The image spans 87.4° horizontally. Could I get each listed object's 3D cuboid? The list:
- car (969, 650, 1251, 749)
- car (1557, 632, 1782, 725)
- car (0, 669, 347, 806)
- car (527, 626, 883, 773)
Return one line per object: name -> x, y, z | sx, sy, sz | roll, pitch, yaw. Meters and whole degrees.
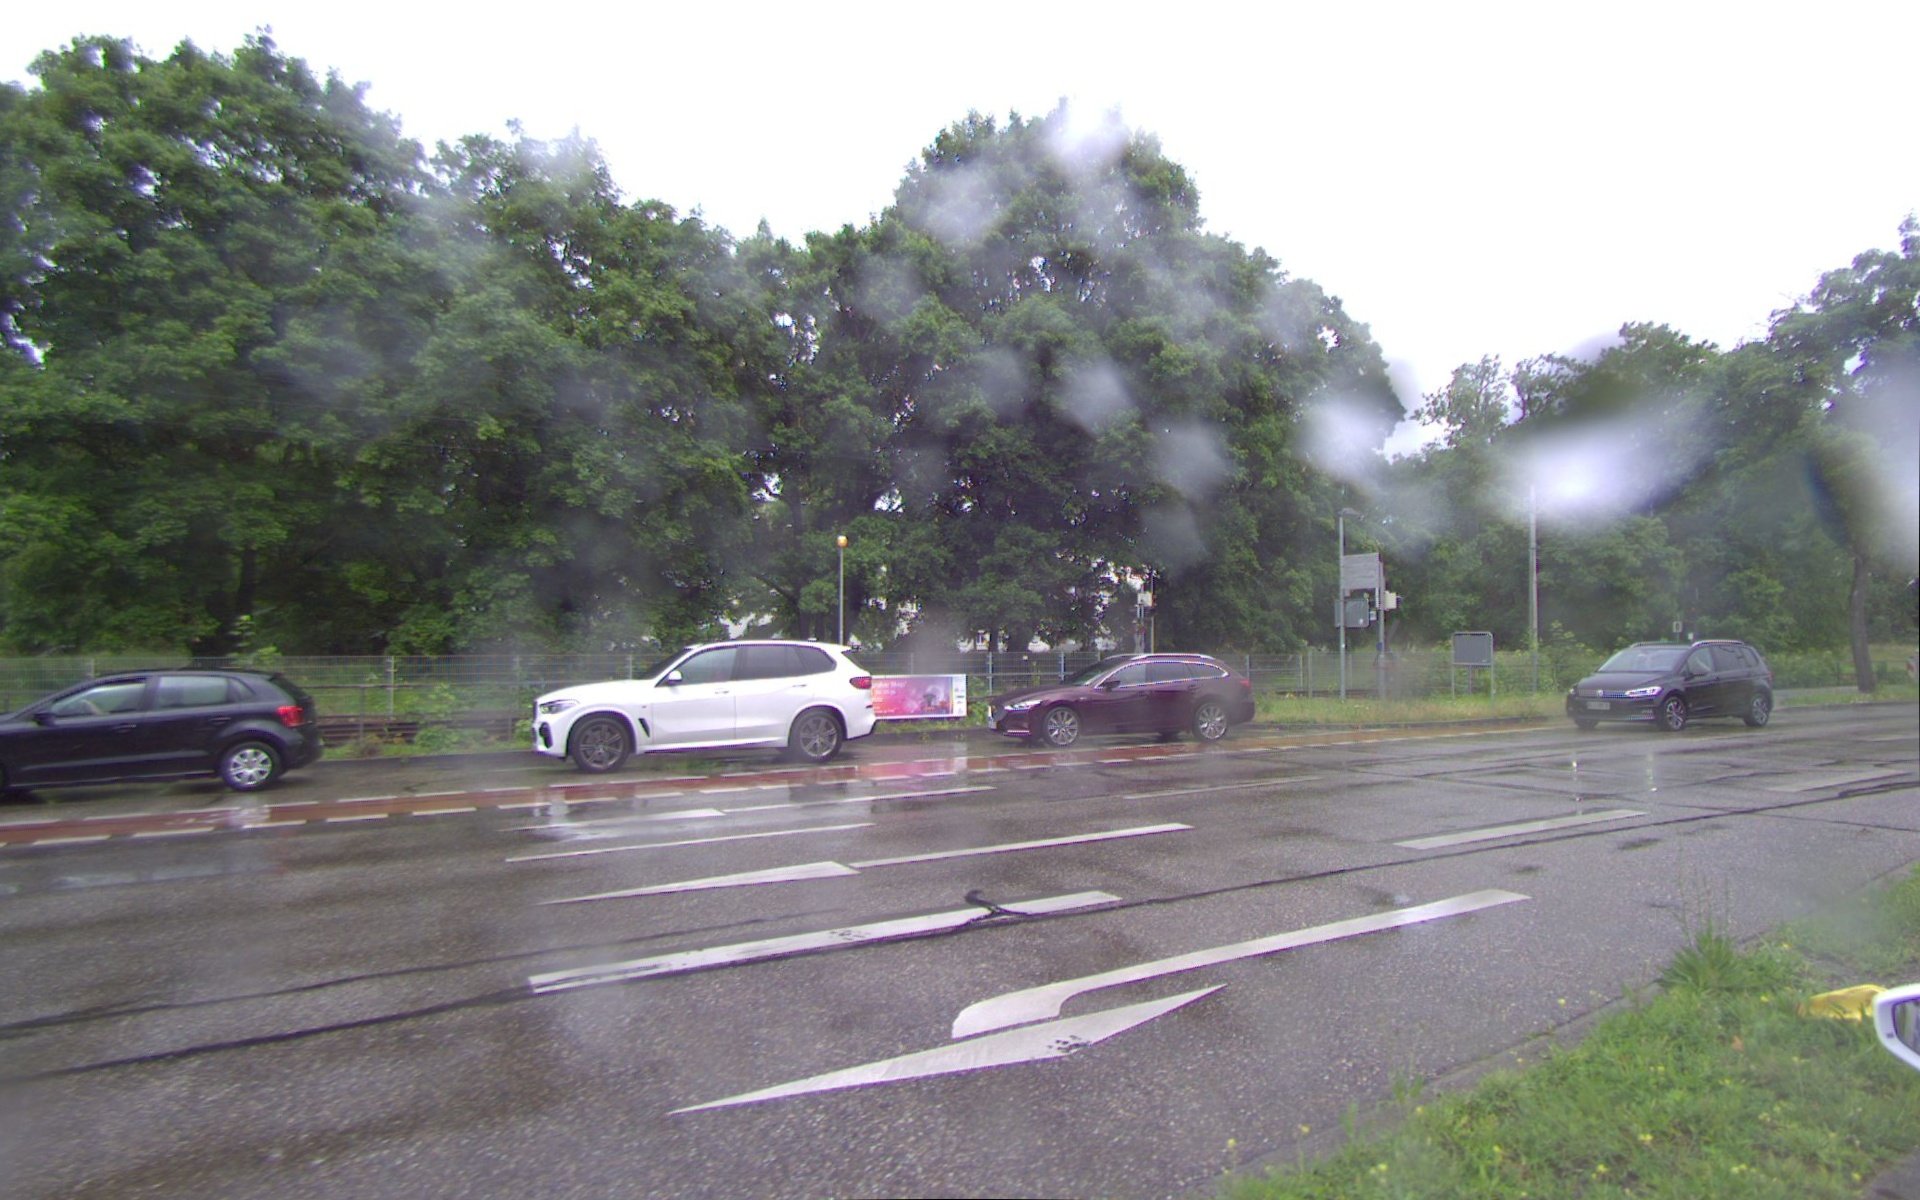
car -> 2.538, 1.643, 17.321 | 4.432, 1.505, 1.872 | 0, -3, -16
car -> 13.889, 1.487, 19.648 | 4.273, 1.663, 1.702 | 1, -4, -26
car -> -9.445, 1.552, 11.855 | 3.641, 1.396, 1.582 | 1, -5, -29
car -> -3.657, 1.391, 14.516 | 4.704, 1.850, 1.990 | 1, -5, -23
